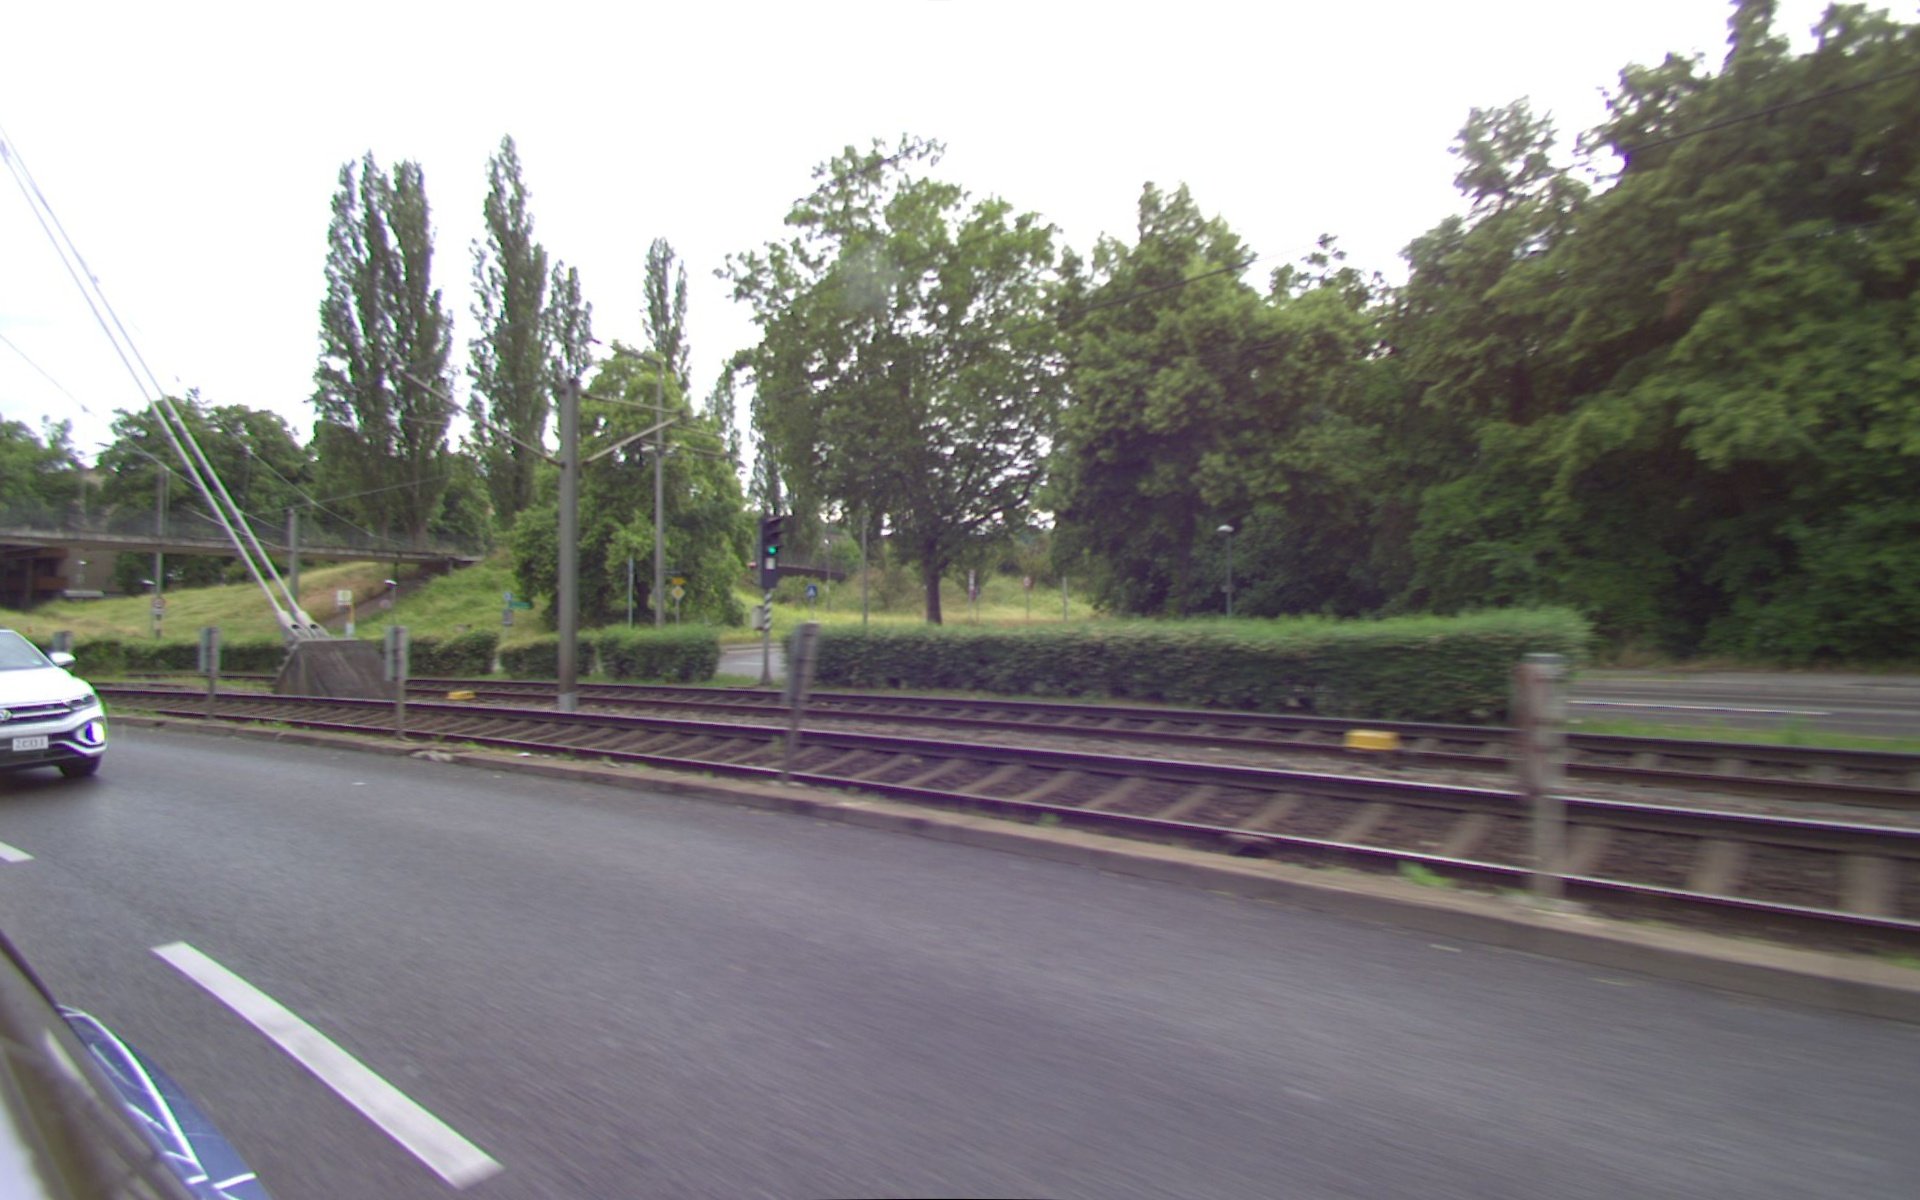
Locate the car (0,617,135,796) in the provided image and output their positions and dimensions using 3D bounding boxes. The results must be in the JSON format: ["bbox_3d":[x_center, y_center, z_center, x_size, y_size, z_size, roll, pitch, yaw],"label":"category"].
[{"bbox_3d":[-10.183,0.973,9.914,4.523,1.535,1.858,-2,-1,31],"label":"car"}]
